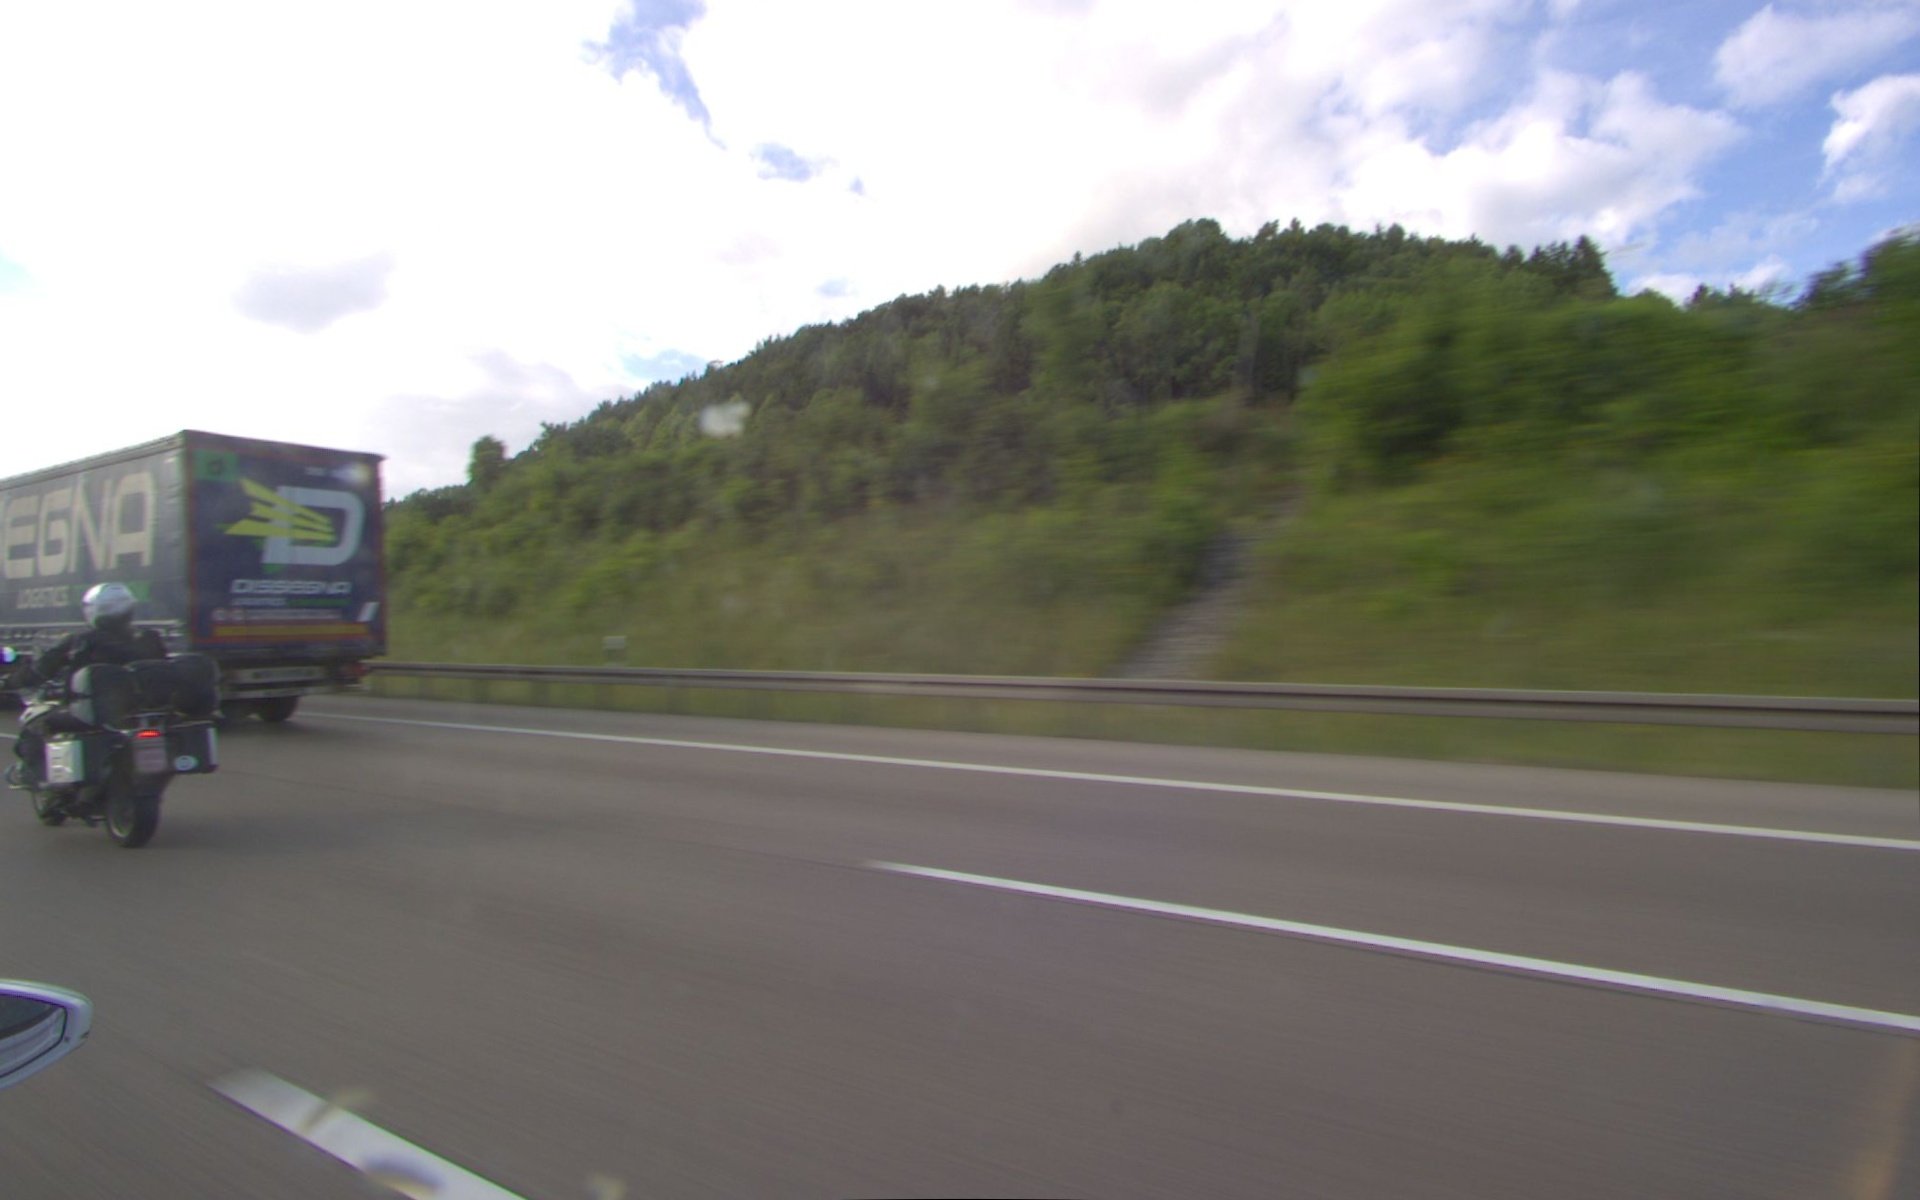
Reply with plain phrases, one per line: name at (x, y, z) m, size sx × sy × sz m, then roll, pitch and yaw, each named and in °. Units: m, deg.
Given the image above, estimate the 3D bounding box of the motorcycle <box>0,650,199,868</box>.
motorcycle at (-6.139, 1.047, 7.108) m, size 1.714 × 1.356 × 0.626 m, roll -1°, pitch -1°, yaw 33°

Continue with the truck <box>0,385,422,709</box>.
truck at (-16.249, -0.477, 18.399) m, size 17.478 × 4.043 × 2.959 m, roll -1°, pitch -1°, yaw 32°

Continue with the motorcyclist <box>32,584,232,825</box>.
motorcyclist at (-5.748, 0.690, 6.972) m, size 0.786 × 1.534 × 0.875 m, roll -1°, pitch -2°, yaw 34°
